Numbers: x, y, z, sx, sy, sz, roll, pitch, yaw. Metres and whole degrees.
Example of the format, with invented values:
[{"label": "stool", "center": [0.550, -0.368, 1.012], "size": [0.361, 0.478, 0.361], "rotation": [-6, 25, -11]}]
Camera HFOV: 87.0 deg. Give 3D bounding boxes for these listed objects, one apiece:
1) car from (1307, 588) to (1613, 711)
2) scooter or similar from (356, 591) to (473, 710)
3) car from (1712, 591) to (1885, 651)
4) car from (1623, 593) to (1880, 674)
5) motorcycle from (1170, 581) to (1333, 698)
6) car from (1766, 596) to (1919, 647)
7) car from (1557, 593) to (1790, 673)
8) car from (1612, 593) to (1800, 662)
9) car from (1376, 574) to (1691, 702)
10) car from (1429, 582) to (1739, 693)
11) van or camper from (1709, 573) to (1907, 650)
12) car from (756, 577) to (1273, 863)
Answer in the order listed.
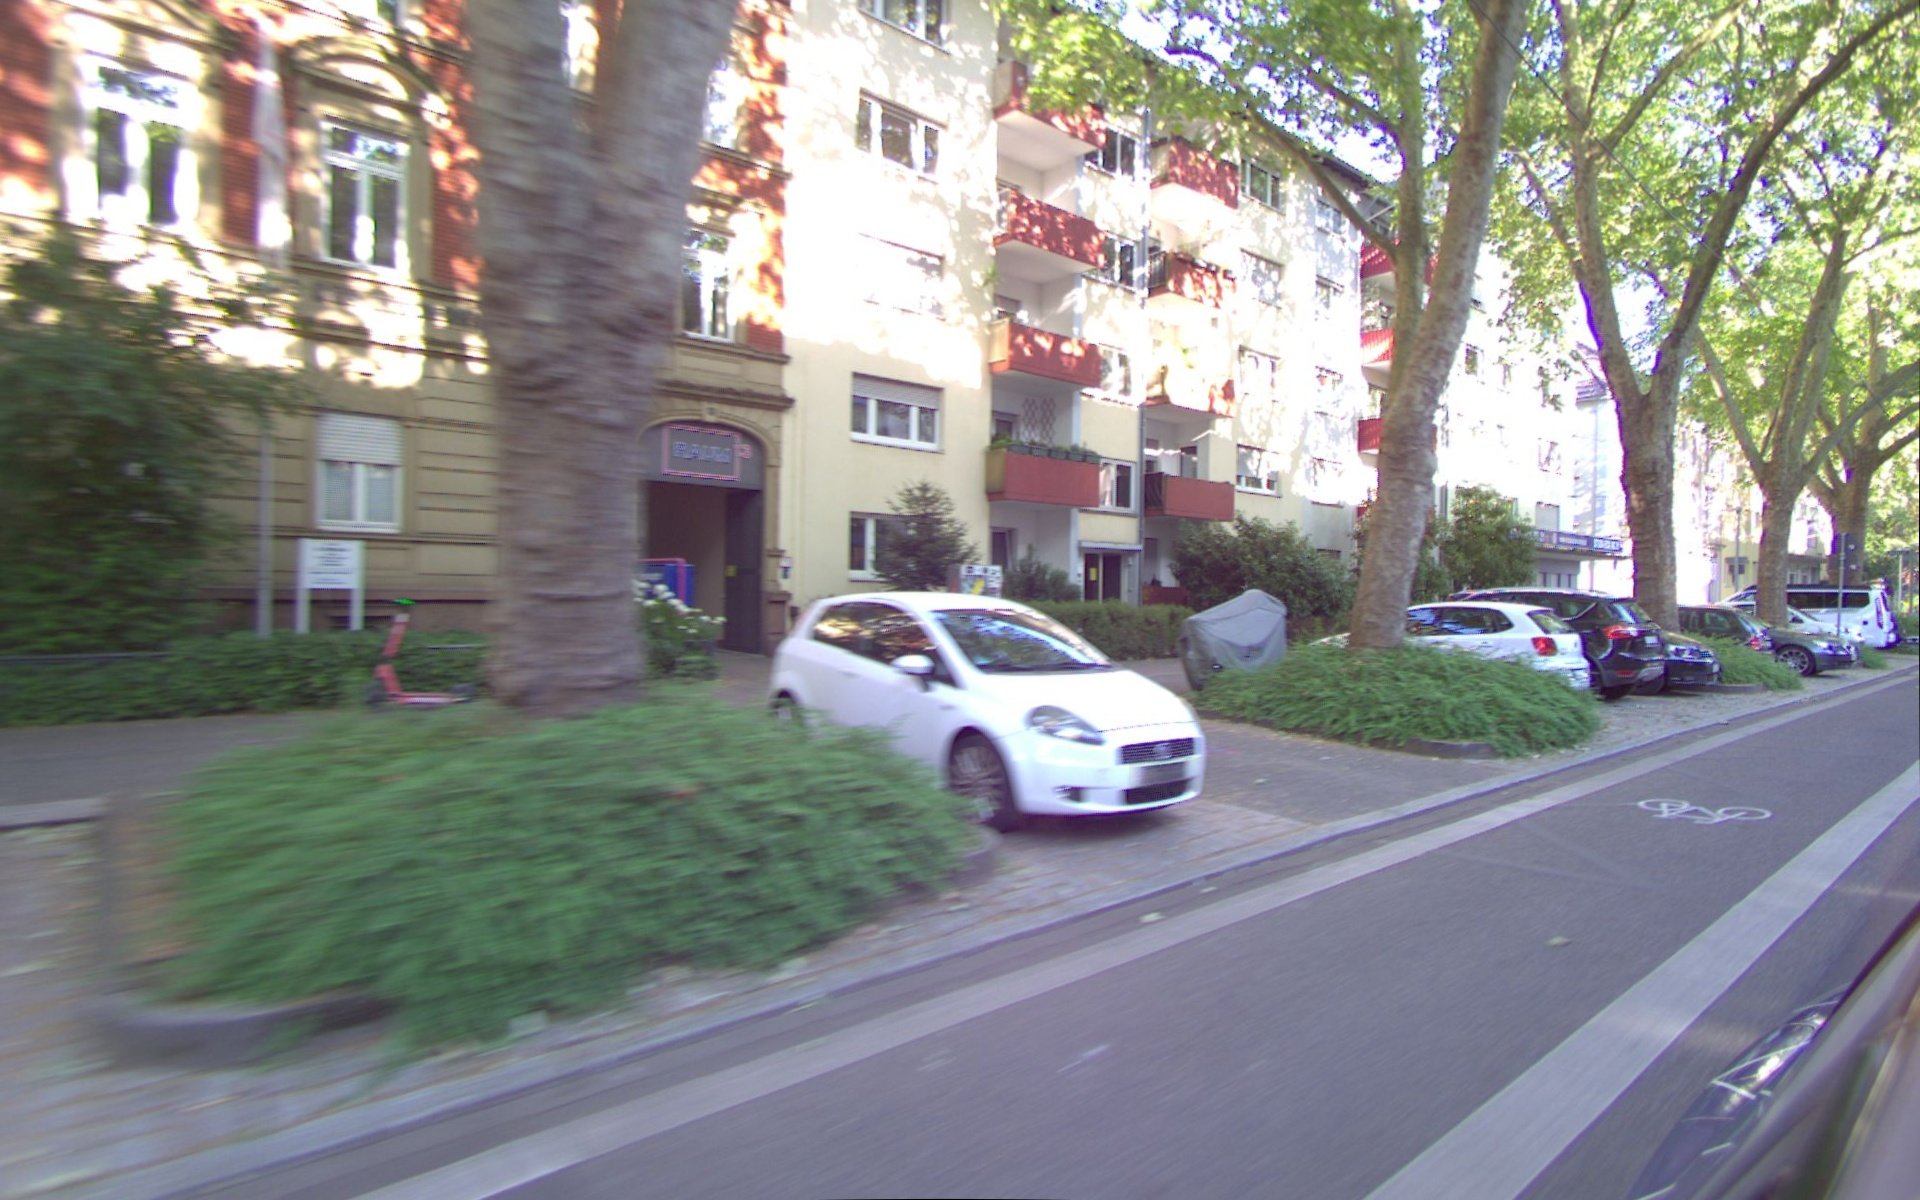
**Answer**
[{"label": "car", "center": [7.086, 0.601, 14.590], "size": [1.632, 1.514, 3.614], "rotation": [0, 1, -42]}, {"label": "scooter or similar", "center": [-5.891, 0.525, 10.947], "size": [1.100, 1.239, 0.276], "rotation": [0, 0, -32]}, {"label": "car", "center": [23.601, 0.545, 28.576], "size": [1.649, 1.550, 3.568], "rotation": [0, 1, -42]}, {"label": "car", "center": [17.631, 0.664, 22.712], "size": [1.877, 1.500, 4.206], "rotation": [0, 2, -39]}, {"label": "motorcycle", "center": [4.178, 0.501, 14.330], "size": [2.769, 1.497, 0.841], "rotation": [0, 1, -41]}, {"label": "car", "center": [27.797, 0.623, 31.785], "size": [1.694, 1.457, 3.573], "rotation": [0, 1, -37]}, {"label": "car", "center": [15.261, 0.634, 21.779], "size": [1.672, 1.461, 3.830], "rotation": [0, 2, -44]}, {"label": "car", "center": [18.556, 0.620, 25.272], "size": [1.615, 1.500, 3.481], "rotation": [0, 2, -40]}, {"label": "car", "center": [8.993, 0.492, 16.139], "size": [1.773, 1.767, 4.002], "rotation": [1, 1, -40]}, {"label": "car", "center": [10.722, 0.541, 17.640], "size": [1.713, 1.673, 4.296], "rotation": [0, 1, -42]}, {"label": "van or camper", "center": [25.383, 0.274, 30.406], "size": [1.808, 2.136, 4.381], "rotation": [0, 2, -43]}, {"label": "car", "center": [0.142, 0.616, 7.573], "size": [1.658, 1.498, 3.964], "rotation": [0, 2, -38]}]
